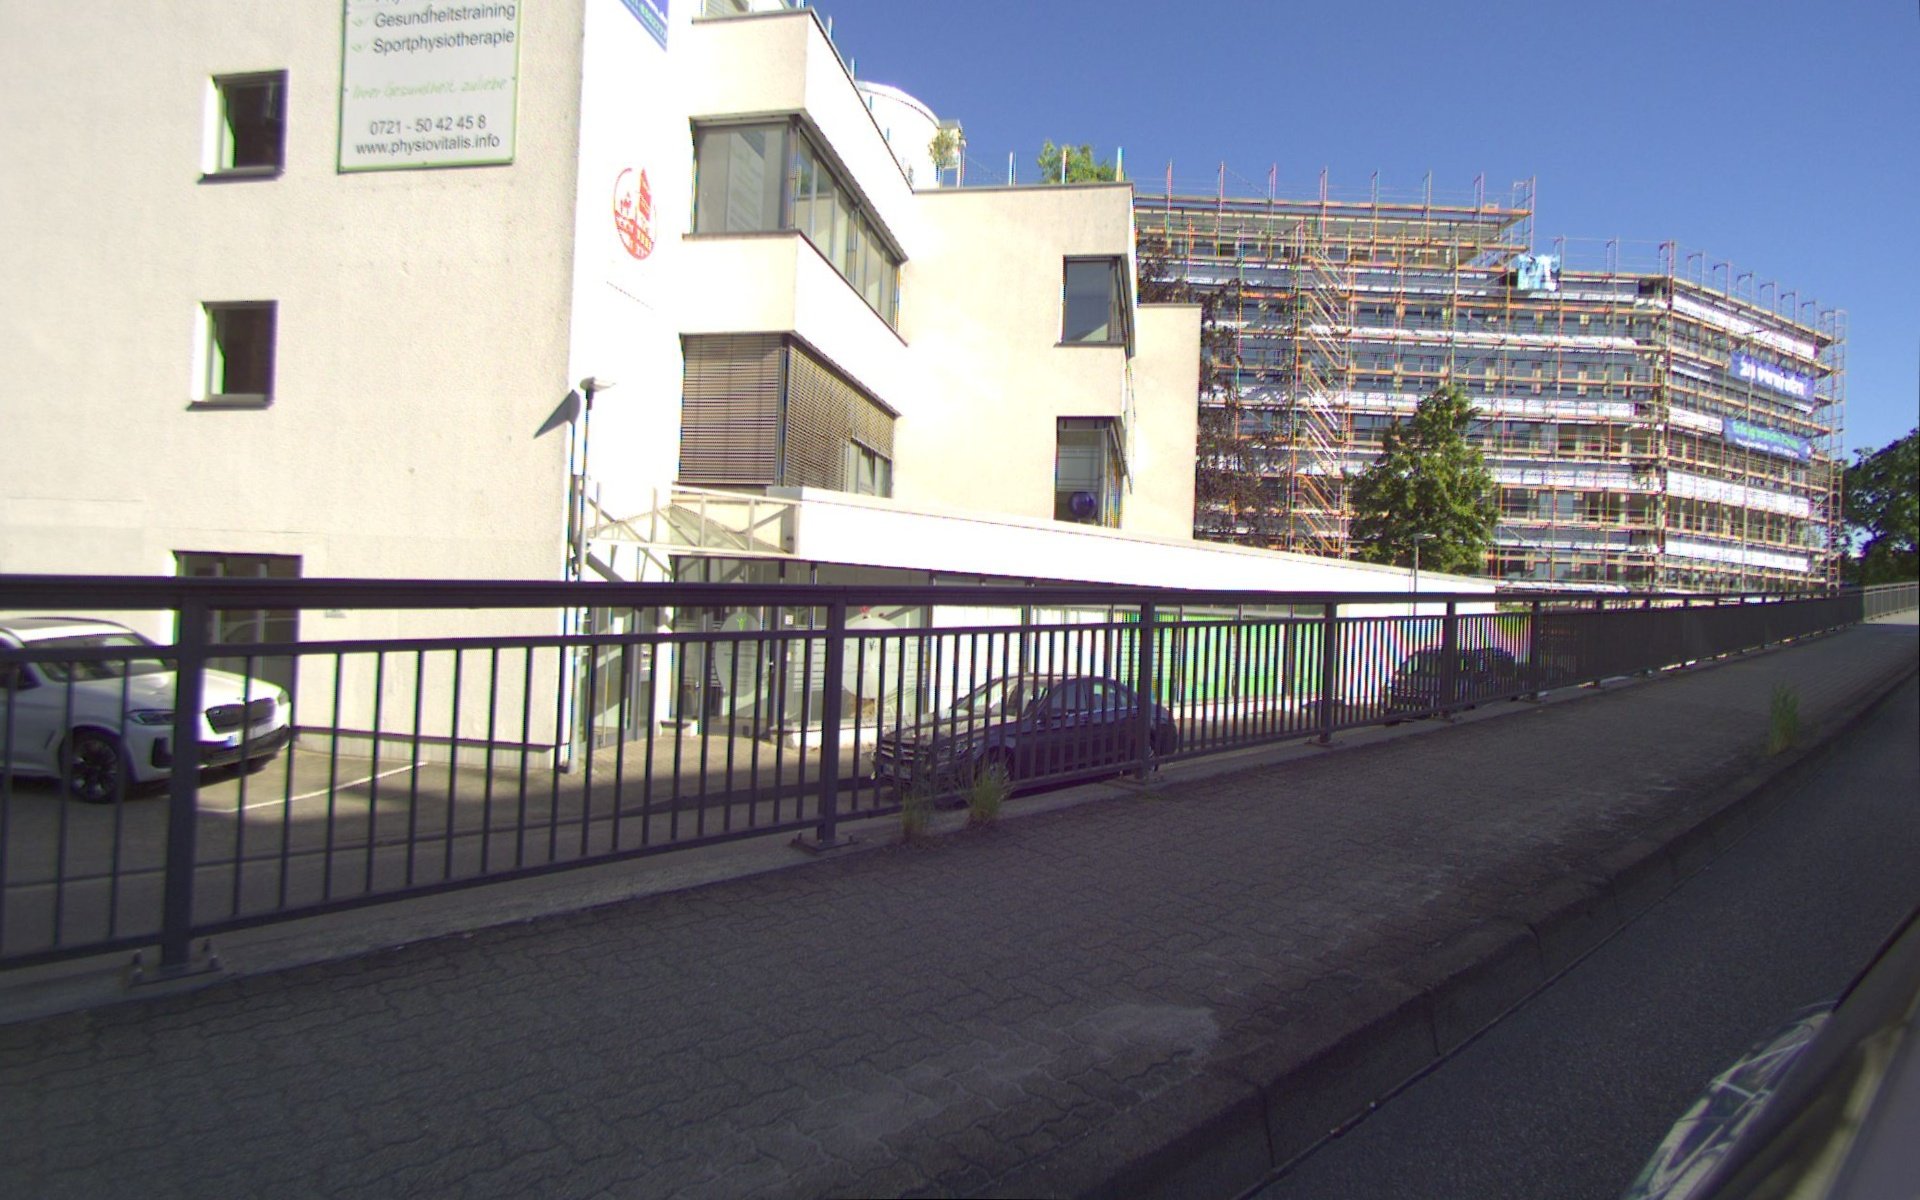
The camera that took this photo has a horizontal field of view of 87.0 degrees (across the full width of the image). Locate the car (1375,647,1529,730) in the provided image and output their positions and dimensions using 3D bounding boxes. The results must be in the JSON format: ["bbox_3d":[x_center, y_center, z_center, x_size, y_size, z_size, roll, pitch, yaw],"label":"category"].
[{"bbox_3d":[10.860,1.859,22.232,3.931,1.541,1.723,1,-1,-42],"label":"car"}]

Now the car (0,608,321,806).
[{"bbox_3d":[-9.566,1.019,10.847,4.455,1.707,1.840,2,0,9],"label":"car"}]

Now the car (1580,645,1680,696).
[{"bbox_3d":[21.087,2.170,31.803,3.931,1.410,1.723,1,-1,-42],"label":"car"}]

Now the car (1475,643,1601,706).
[{"bbox_3d":[14.981,1.865,26.162,3.931,1.410,1.723,1,-1,-42],"label":"car"}]

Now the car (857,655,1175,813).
[{"bbox_3d":[0.811,1.545,12.811,3.929,1.541,1.724,1,-1,-41],"label":"car"}]
